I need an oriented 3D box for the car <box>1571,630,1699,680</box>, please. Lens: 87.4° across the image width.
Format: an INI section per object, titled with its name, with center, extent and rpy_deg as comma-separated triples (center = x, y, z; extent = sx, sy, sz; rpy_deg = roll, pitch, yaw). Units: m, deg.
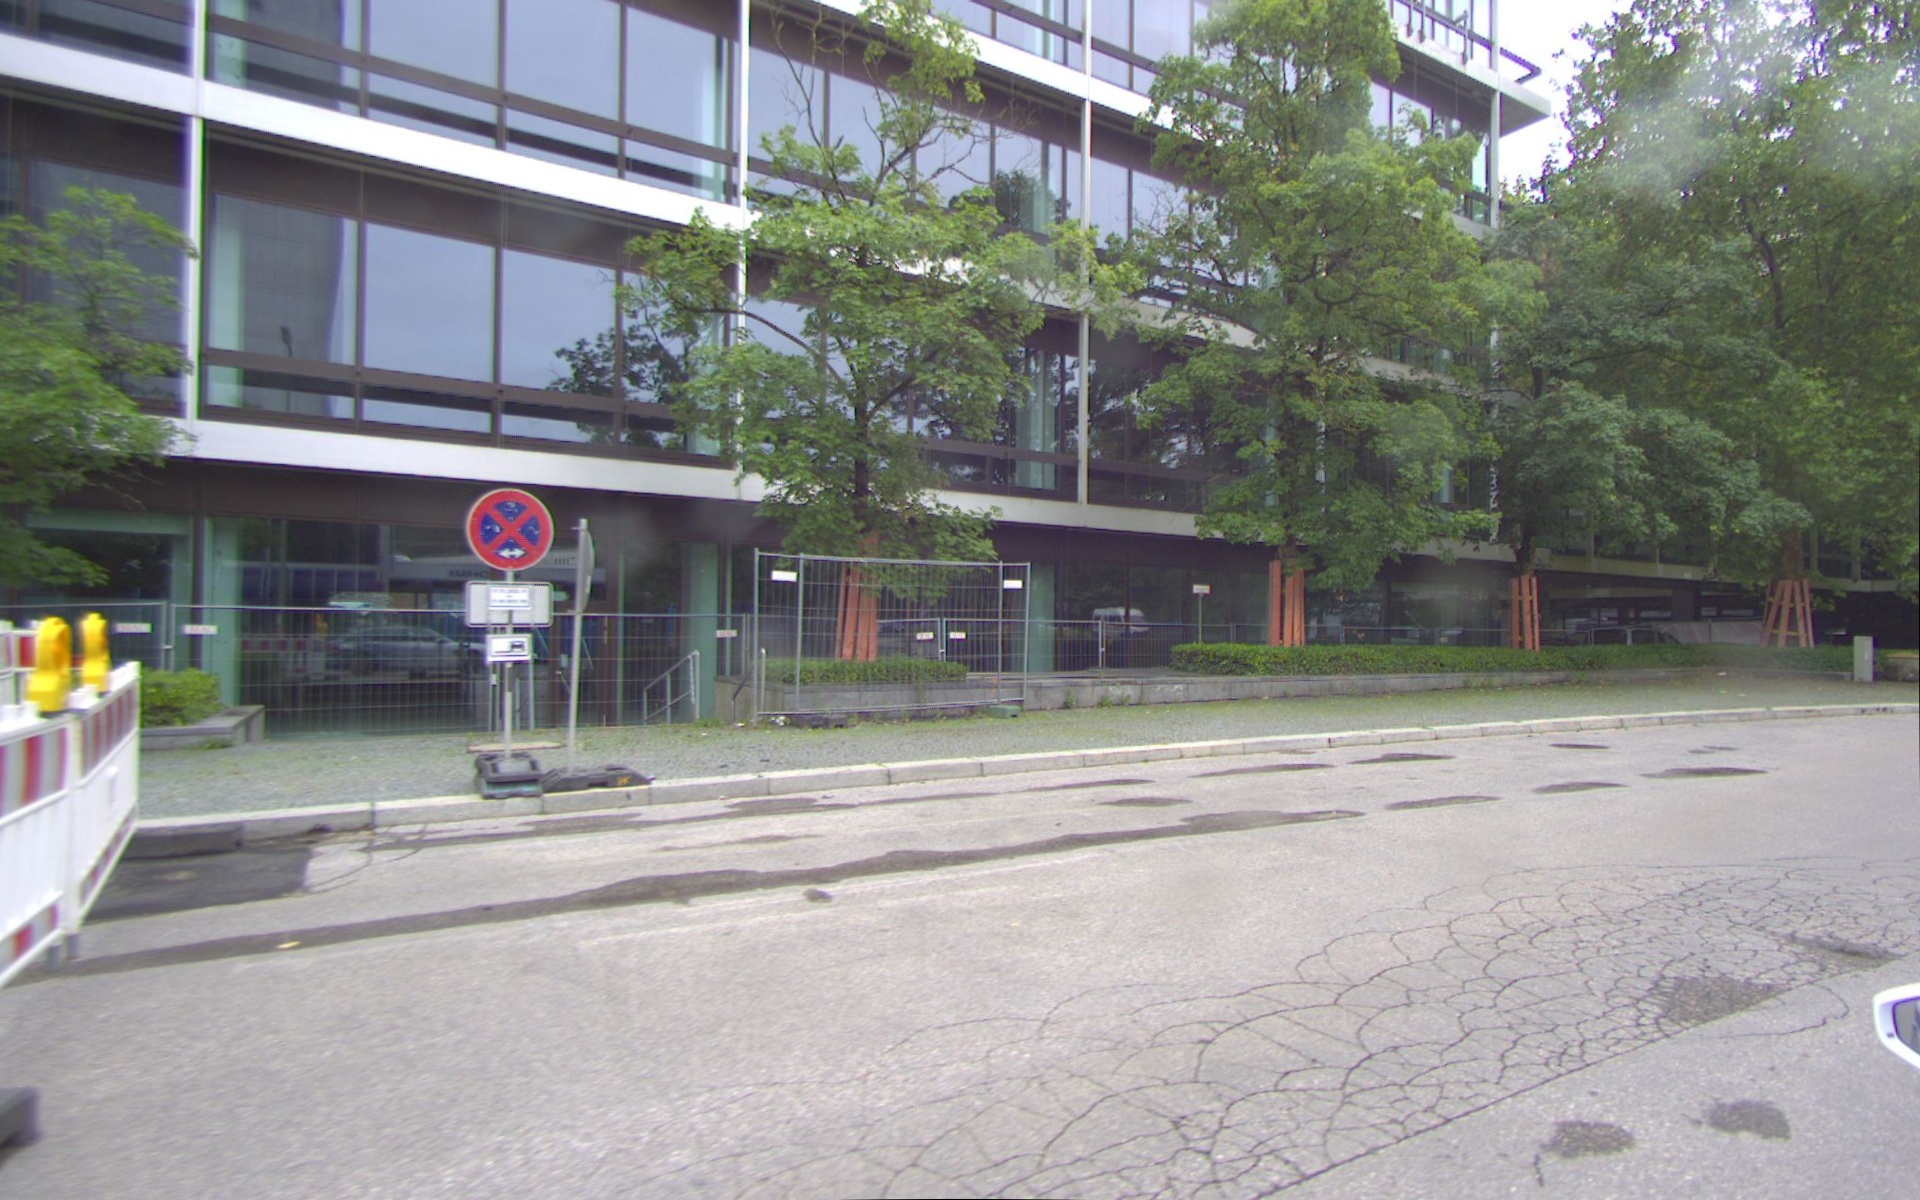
[car]
center = 21.599, 1.722, 32.133
extent = 3.813, 1.493, 1.899
rpy_deg = 1, -2, -29
